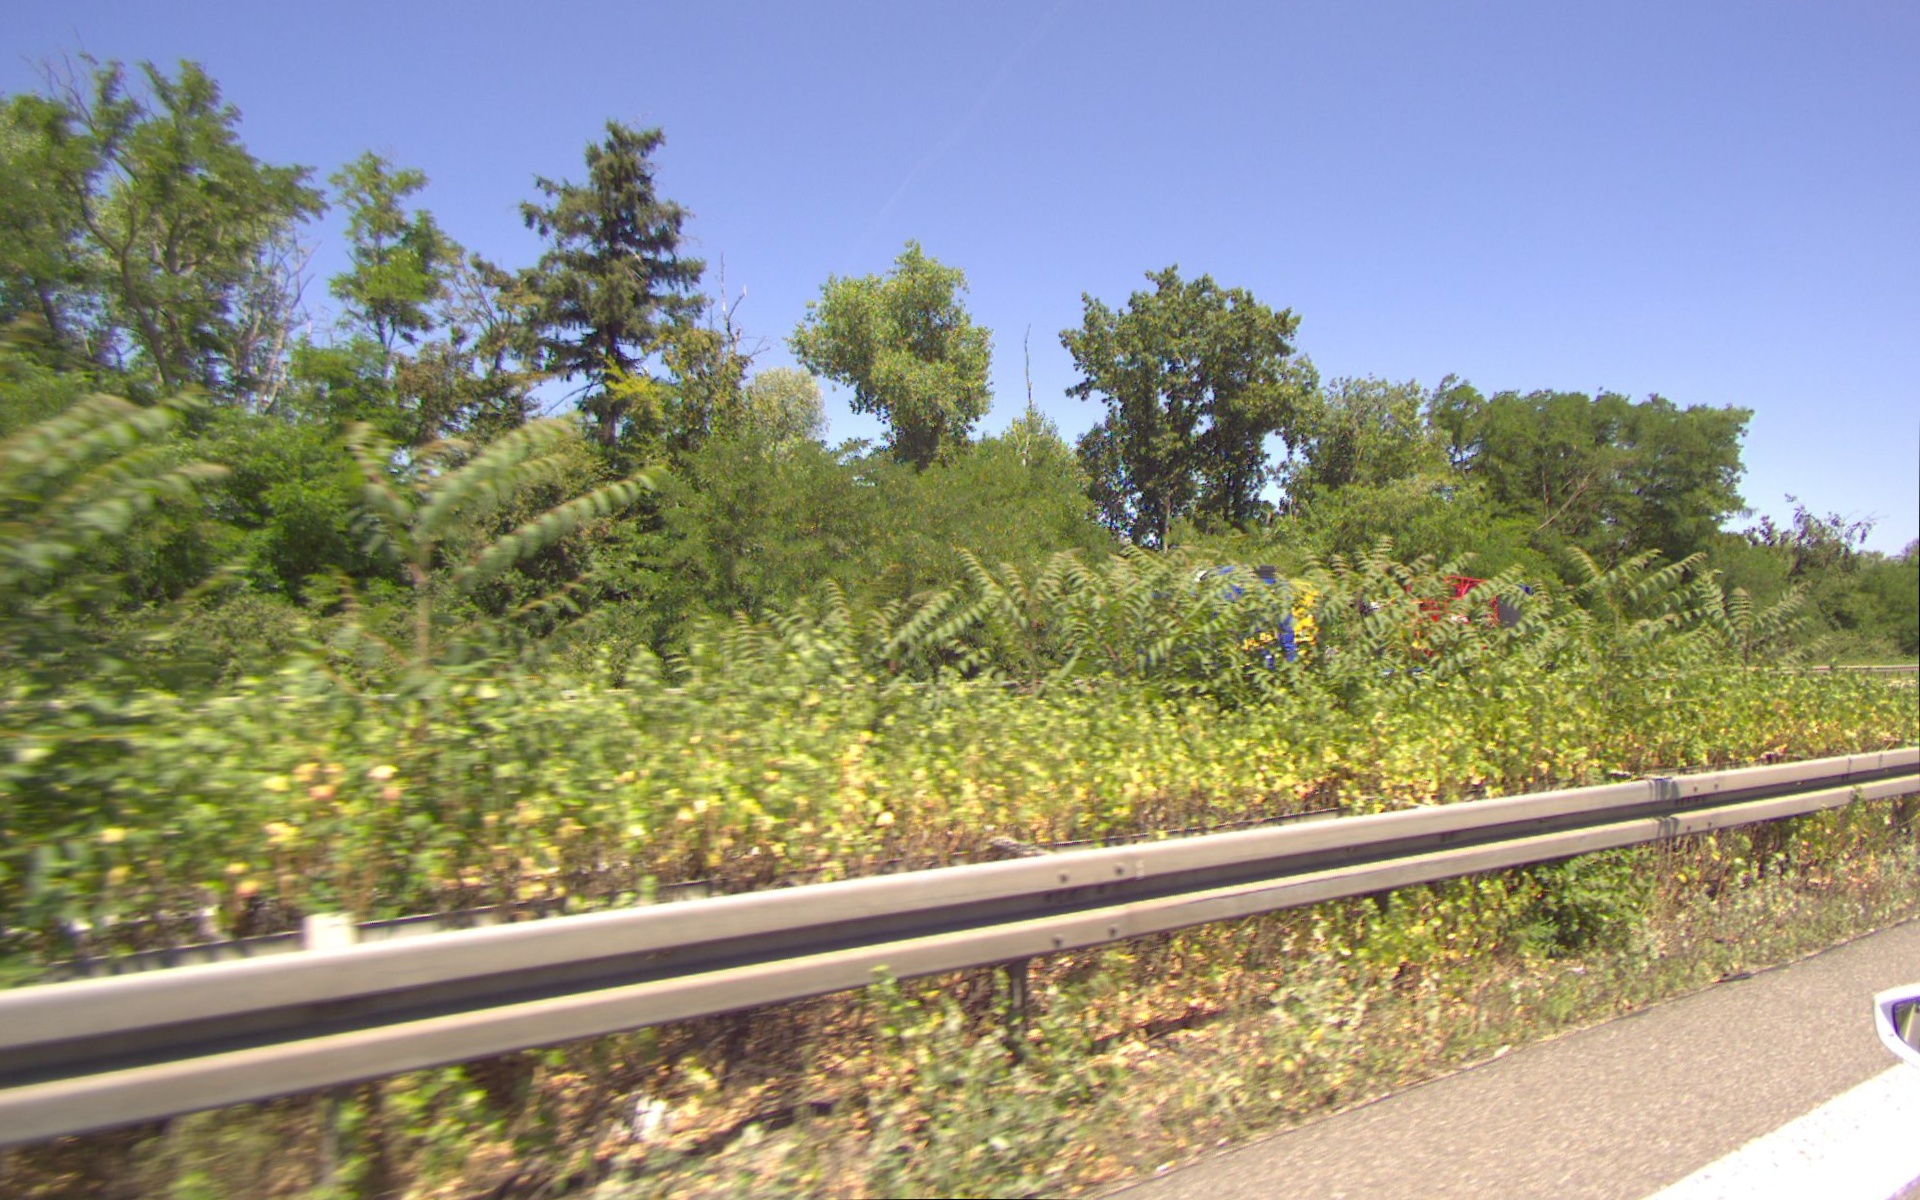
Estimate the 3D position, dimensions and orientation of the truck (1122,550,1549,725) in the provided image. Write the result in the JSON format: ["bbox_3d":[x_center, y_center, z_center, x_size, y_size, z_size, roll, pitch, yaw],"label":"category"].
[{"bbox_3d":[9.403,0.964,24.180,11.841,3.477,2.775,2,-3,-30],"label":"truck"}]
